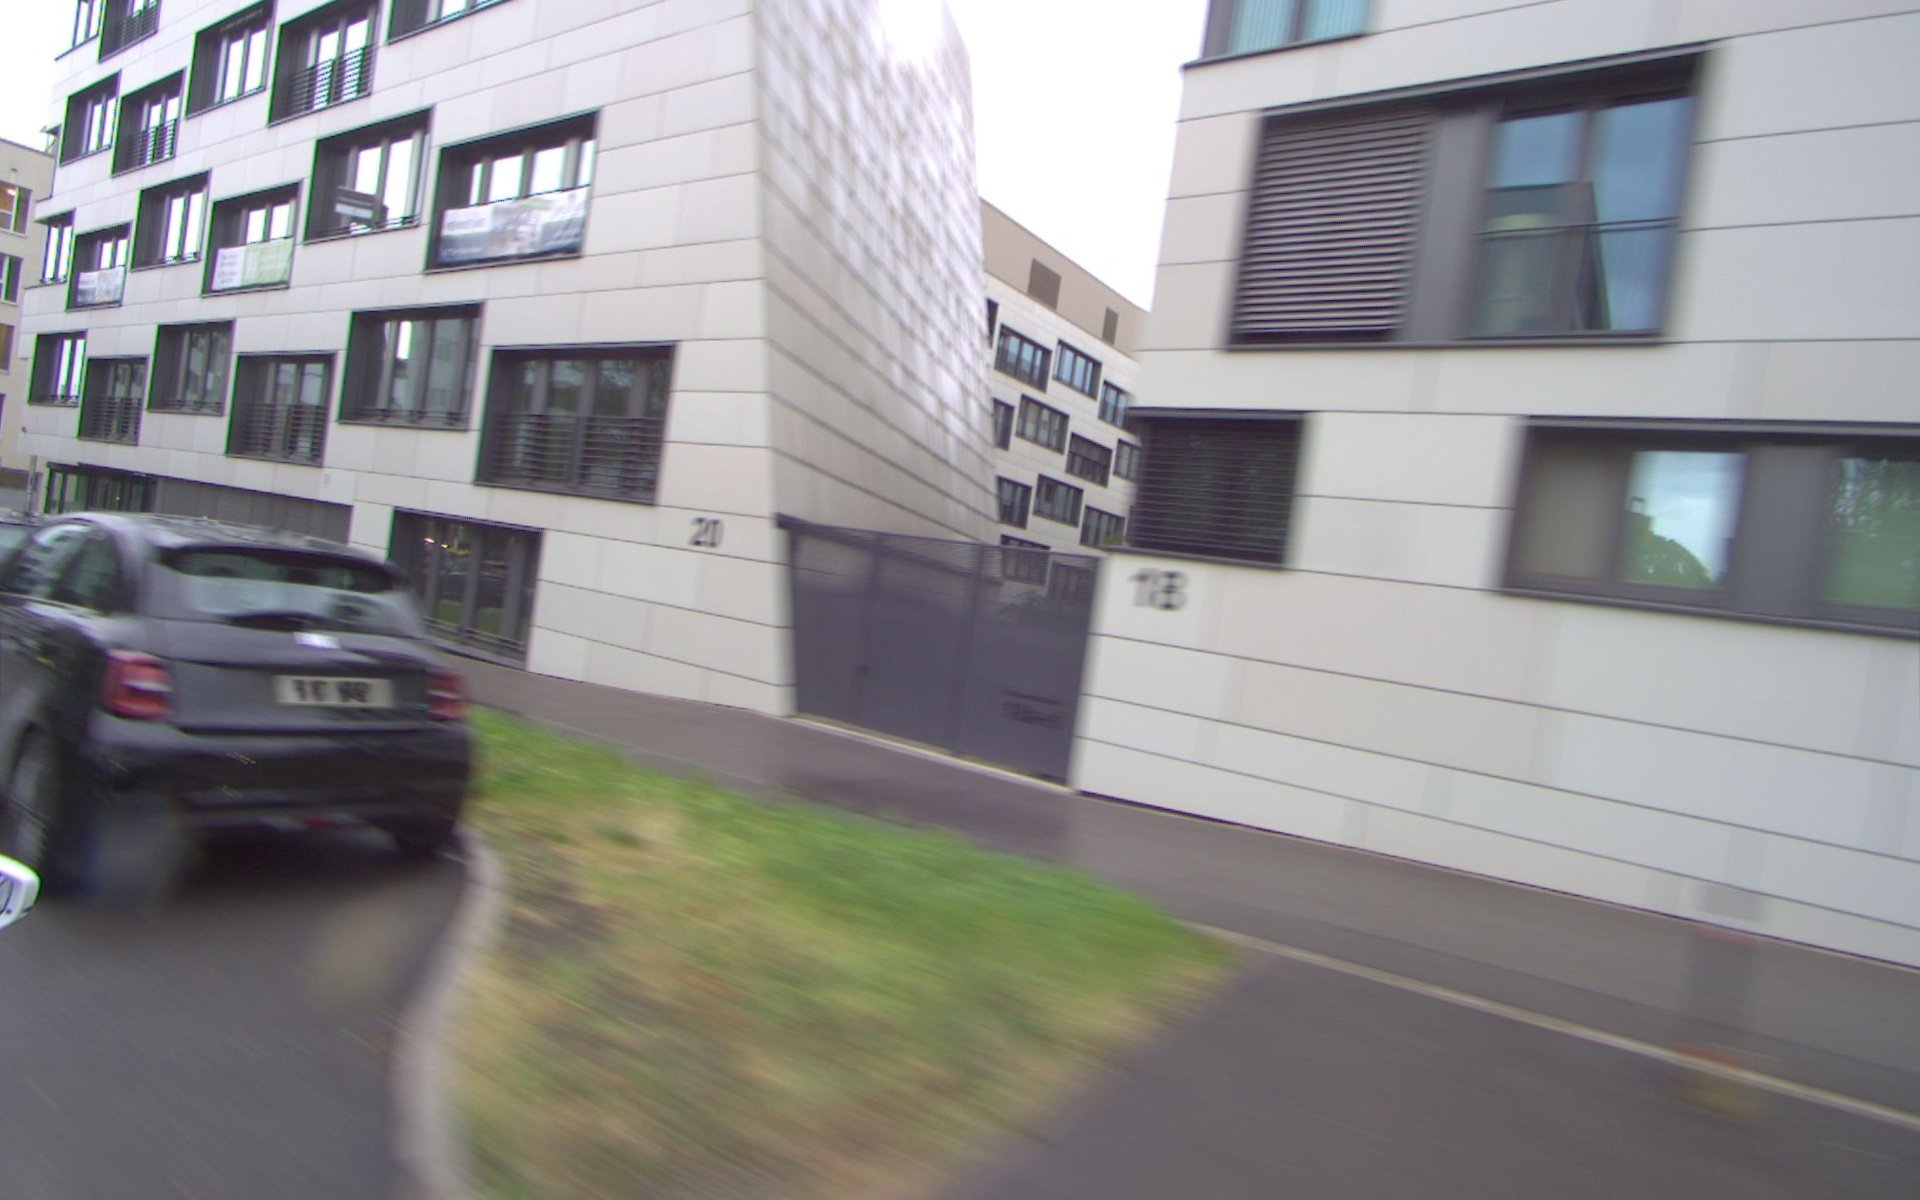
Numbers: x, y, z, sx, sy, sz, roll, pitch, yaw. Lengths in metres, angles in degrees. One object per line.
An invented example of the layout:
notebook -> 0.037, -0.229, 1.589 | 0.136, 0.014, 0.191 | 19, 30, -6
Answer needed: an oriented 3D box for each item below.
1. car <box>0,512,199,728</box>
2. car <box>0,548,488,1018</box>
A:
car -> -8.367, -0.016, 8.438 | 4.425, 1.502, 1.809 | 6, -2, 35
car -> -4.254, 0.651, 5.306 | 3.604, 1.496, 1.547 | 7, -1, 37
